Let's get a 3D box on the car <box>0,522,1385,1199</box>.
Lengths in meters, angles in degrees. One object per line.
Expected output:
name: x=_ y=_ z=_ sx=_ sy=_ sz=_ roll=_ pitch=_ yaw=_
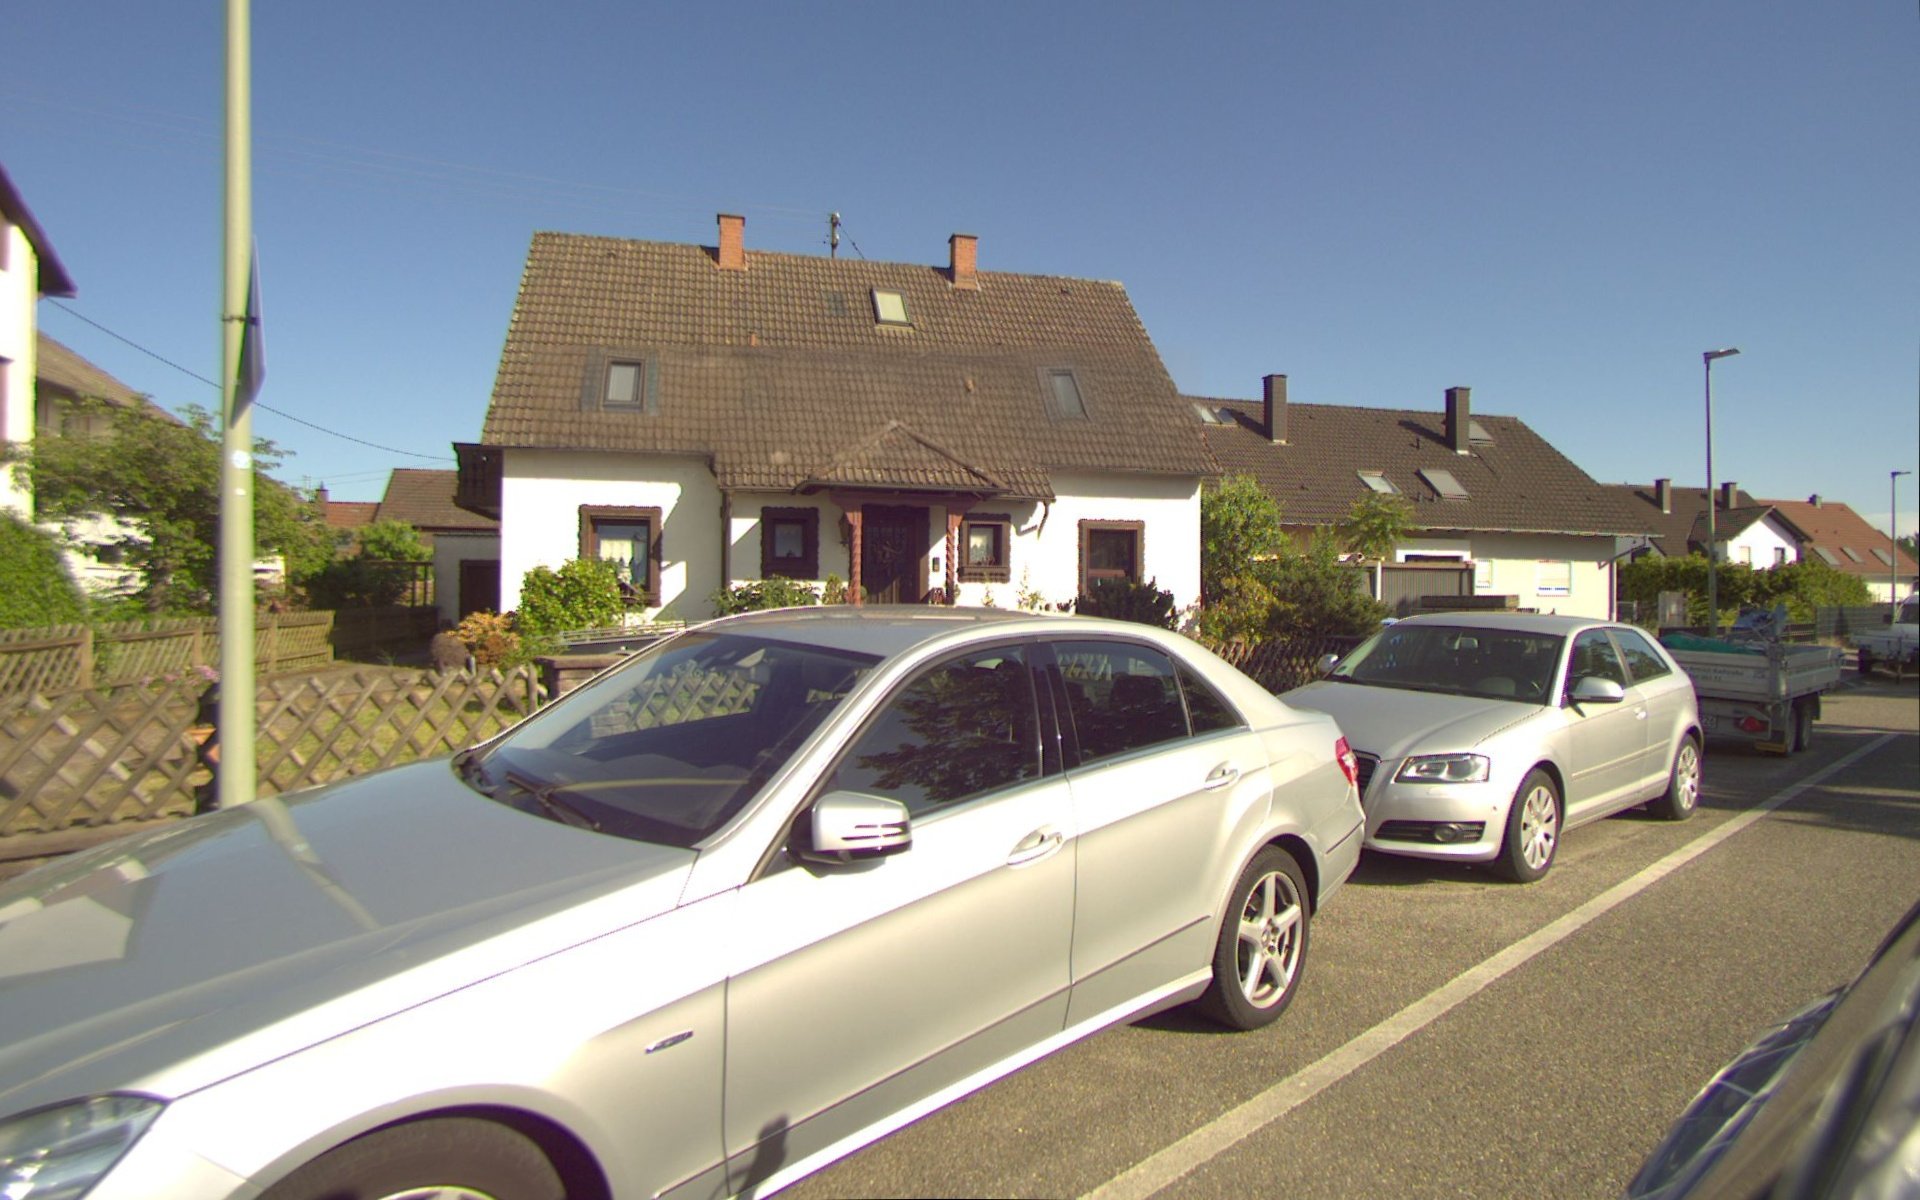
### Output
car: x=-0.448 y=0.688 z=3.294 sx=4.462 sy=1.562 sz=1.785 roll=0 pitch=0 yaw=-44

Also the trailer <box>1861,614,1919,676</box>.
trailer: x=20.560 y=0.941 z=21.682 sx=3.092 sy=1.233 sz=1.629 roll=0 pitch=0 yaw=-43

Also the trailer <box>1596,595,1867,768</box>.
trailer: x=8.257 y=0.740 z=10.772 sx=3.141 sy=1.558 sz=1.630 roll=0 pitch=0 yaw=-40

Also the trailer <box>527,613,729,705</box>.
trailer: x=-4.222 y=0.729 z=13.137 sx=2.142 sy=1.085 sz=1.656 roll=0 pitch=0 yaw=-3

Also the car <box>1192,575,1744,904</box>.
car: x=3.501 y=0.678 z=6.699 sx=3.968 sy=1.562 sz=1.678 roll=0 pitch=-1 yaw=-37

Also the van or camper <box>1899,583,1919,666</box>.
van or camper: x=24.149 y=0.565 z=24.434 sx=4.106 sy=1.915 sz=1.721 roll=0 pitch=-1 yaw=-41

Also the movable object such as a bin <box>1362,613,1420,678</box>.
movable object such as a bin: x=7.272 y=0.756 z=17.084 sx=0.737 sy=1.066 sz=0.526 roll=0 pitch=0 yaw=-15
